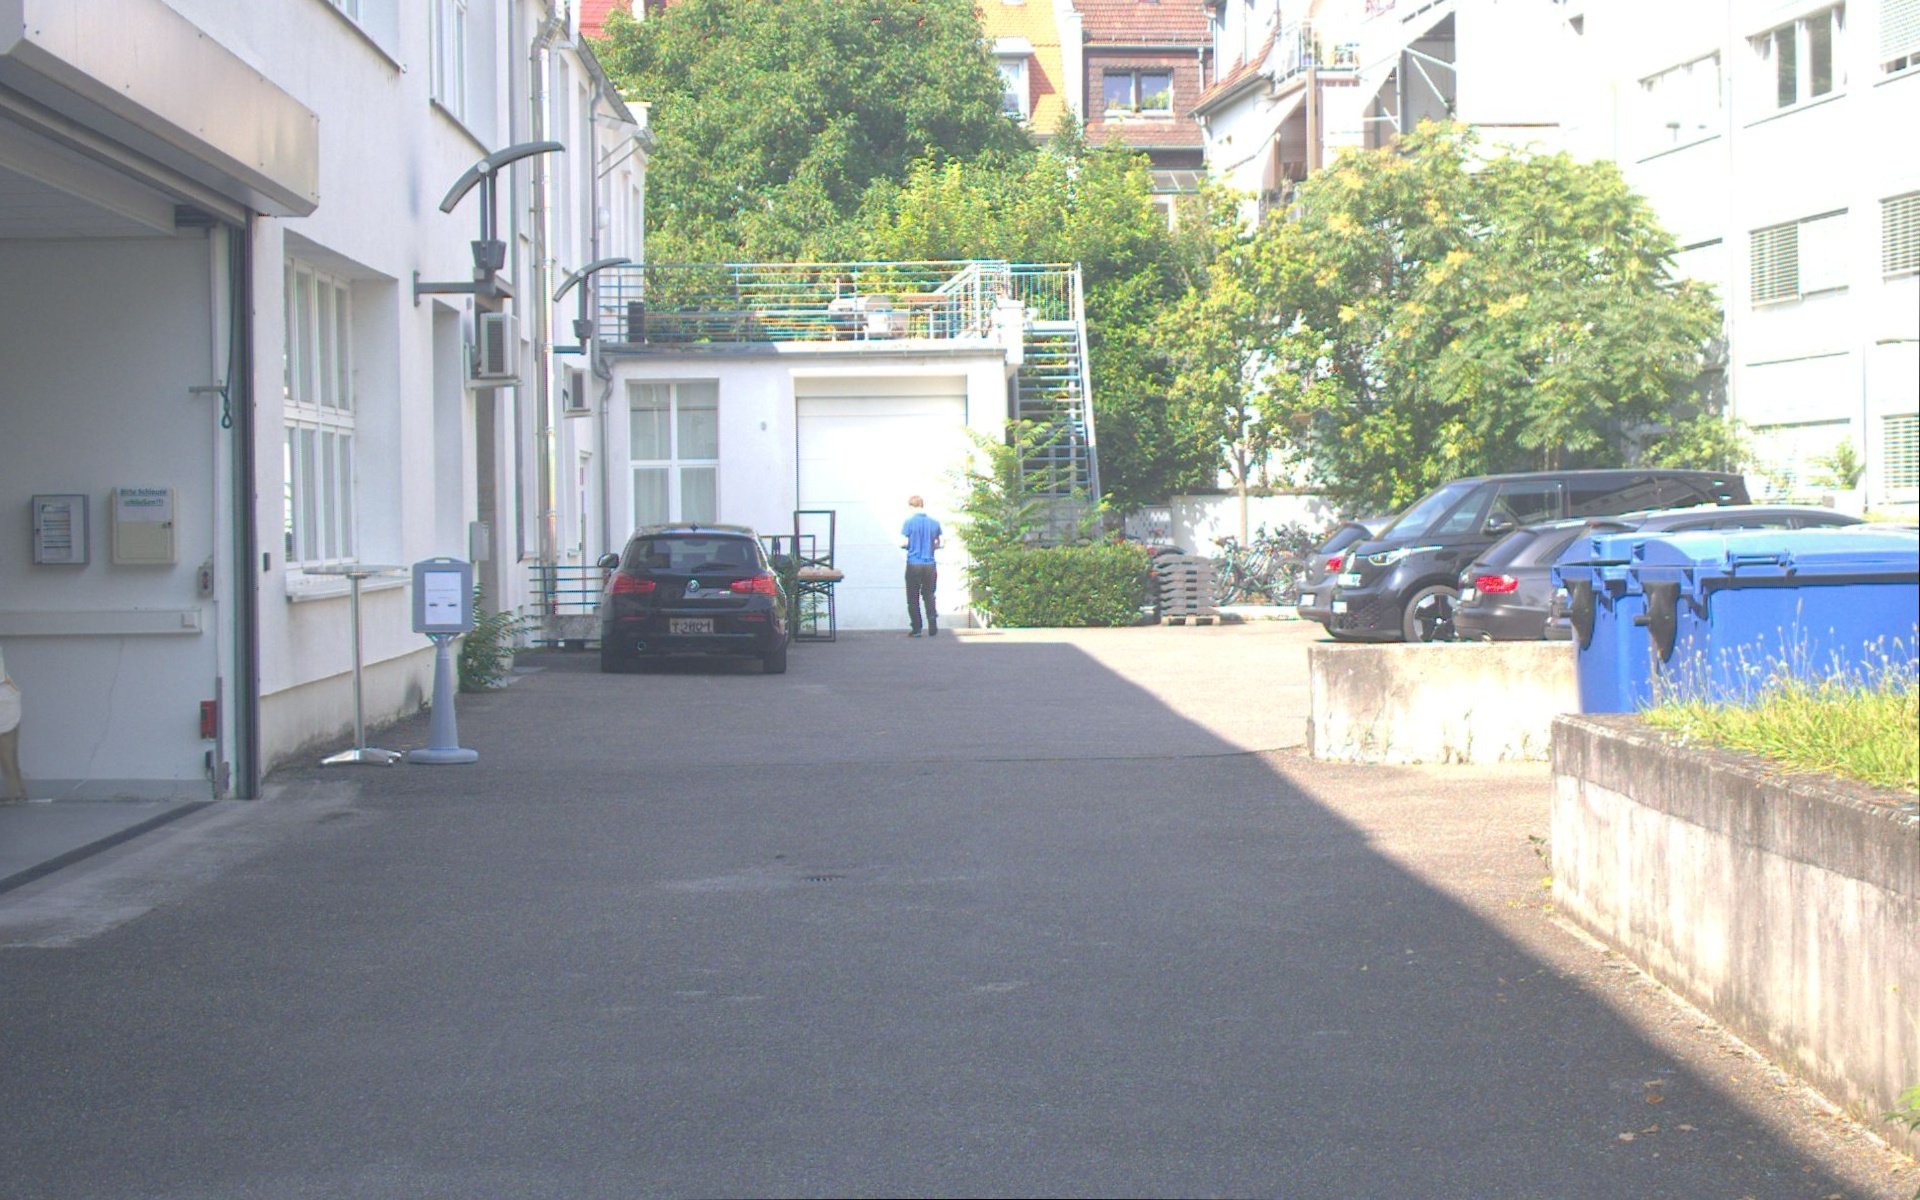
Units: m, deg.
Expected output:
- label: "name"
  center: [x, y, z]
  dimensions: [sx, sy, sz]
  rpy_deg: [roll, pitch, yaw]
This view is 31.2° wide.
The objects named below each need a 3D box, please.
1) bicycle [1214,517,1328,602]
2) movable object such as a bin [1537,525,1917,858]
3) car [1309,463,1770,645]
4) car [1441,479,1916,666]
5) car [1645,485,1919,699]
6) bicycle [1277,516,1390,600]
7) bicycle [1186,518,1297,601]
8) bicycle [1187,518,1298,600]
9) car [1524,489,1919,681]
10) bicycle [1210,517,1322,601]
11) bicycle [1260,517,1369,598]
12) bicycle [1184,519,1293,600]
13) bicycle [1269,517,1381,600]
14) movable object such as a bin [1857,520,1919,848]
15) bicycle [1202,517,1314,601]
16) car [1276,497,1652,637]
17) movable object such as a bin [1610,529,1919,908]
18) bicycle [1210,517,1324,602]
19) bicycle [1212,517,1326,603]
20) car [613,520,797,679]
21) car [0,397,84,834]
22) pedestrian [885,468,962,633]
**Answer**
- label: "bicycle"
  center: [4.619, -0.601, 51.064]
  dimensions: [1.623, 1.210, 0.327]
  rpy_deg: [-2, 1, 1]
- label: "movable object such as a bin"
  center: [3.219, 0.361, 14.567]
  dimensions: [1.300, 1.336, 1.195]
  rpy_deg: [-1, 1, -2]
- label: "car"
  center: [6.236, -0.503, 37.183]
  dimensions: [4.499, 1.788, 1.883]
  rpy_deg: [-2, 1, -10]
- label: "car"
  center: [6.844, -0.275, 32.990]
  dimensions: [4.116, 1.686, 1.771]
  rpy_deg: [-1, 1, -4]
- label: "car"
  center: [7.544, -0.096, 26.976]
  dimensions: [3.798, 1.583, 1.898]
  rpy_deg: [-1, 1, -10]
- label: "bicycle"
  center: [5.616, -0.626, 51.721]
  dimensions: [1.624, 1.210, 0.327]
  rpy_deg: [-2, 1, 14]
- label: "bicycle"
  center: [4.322, -0.626, 52.846]
  dimensions: [1.623, 1.210, 0.424]
  rpy_deg: [-2, 1, -1]
- label: "bicycle"
  center: [4.394, -0.637, 53.482]
  dimensions: [1.623, 1.210, 0.424]
  rpy_deg: [-2, 1, -6]
- label: "car"
  center: [7.096, -0.153, 30.175]
  dimensions: [3.861, 1.583, 1.880]
  rpy_deg: [-1, 1, -6]
- label: "bicycle"
  center: [4.610, -0.613, 51.809]
  dimensions: [1.623, 1.210, 0.327]
  rpy_deg: [-2, 1, 9]
- label: "bicycle"
  center: [5.588, -0.666, 54.184]
  dimensions: [1.624, 1.210, 0.424]
  rpy_deg: [-2, 1, 12]
- label: "bicycle"
  center: [4.377, -0.647, 54.084]
  dimensions: [1.623, 1.210, 0.424]
  rpy_deg: [-2, 1, -6]
- label: "bicycle"
  center: [5.582, -0.640, 52.580]
  dimensions: [1.624, 1.210, 0.424]
  rpy_deg: [-2, 1, 12]
- label: "movable object such as a bin"
  center: [4.546, 0.325, 14.542]
  dimensions: [1.235, 1.336, 1.117]
  rpy_deg: [-1, 1, 2]
- label: "bicycle"
  center: [4.524, -0.618, 52.172]
  dimensions: [1.624, 1.210, 0.327]
  rpy_deg: [-2, 1, 12]
- label: "car"
  center: [5.846, -0.386, 40.067]
  dimensions: [3.931, 1.477, 1.775]
  rpy_deg: [-2, 1, -10]
- label: "movable object such as a bin"
  center: [3.218, 0.408, 12.815]
  dimensions: [1.309, 1.336, 1.100]
  rpy_deg: [-1, 1, -4]
- label: "bicycle"
  center: [4.583, -0.605, 51.357]
  dimensions: [1.623, 1.210, 0.327]
  rpy_deg: [-2, 1, 1]
- label: "bicycle"
  center: [4.559, -0.595, 50.742]
  dimensions: [1.623, 1.210, 0.327]
  rpy_deg: [-2, 1, 1]
- label: "car"
  center: [-2.463, -0.036, 33.937]
  dimensions: [1.688, 1.454, 3.923]
  rpy_deg: [-1, 1, -3]
- label: "car"
  center: [-6.965, 0.073, 16.997]
  dimensions: [4.746, 2.085, 2.056]
  rpy_deg: [0, 1, -1]
- label: "pedestrian"
  center: [-0.454, -0.610, 42.406]
  dimensions: [0.913, 2.007, 0.935]
  rpy_deg: [-1, 1, -1]
